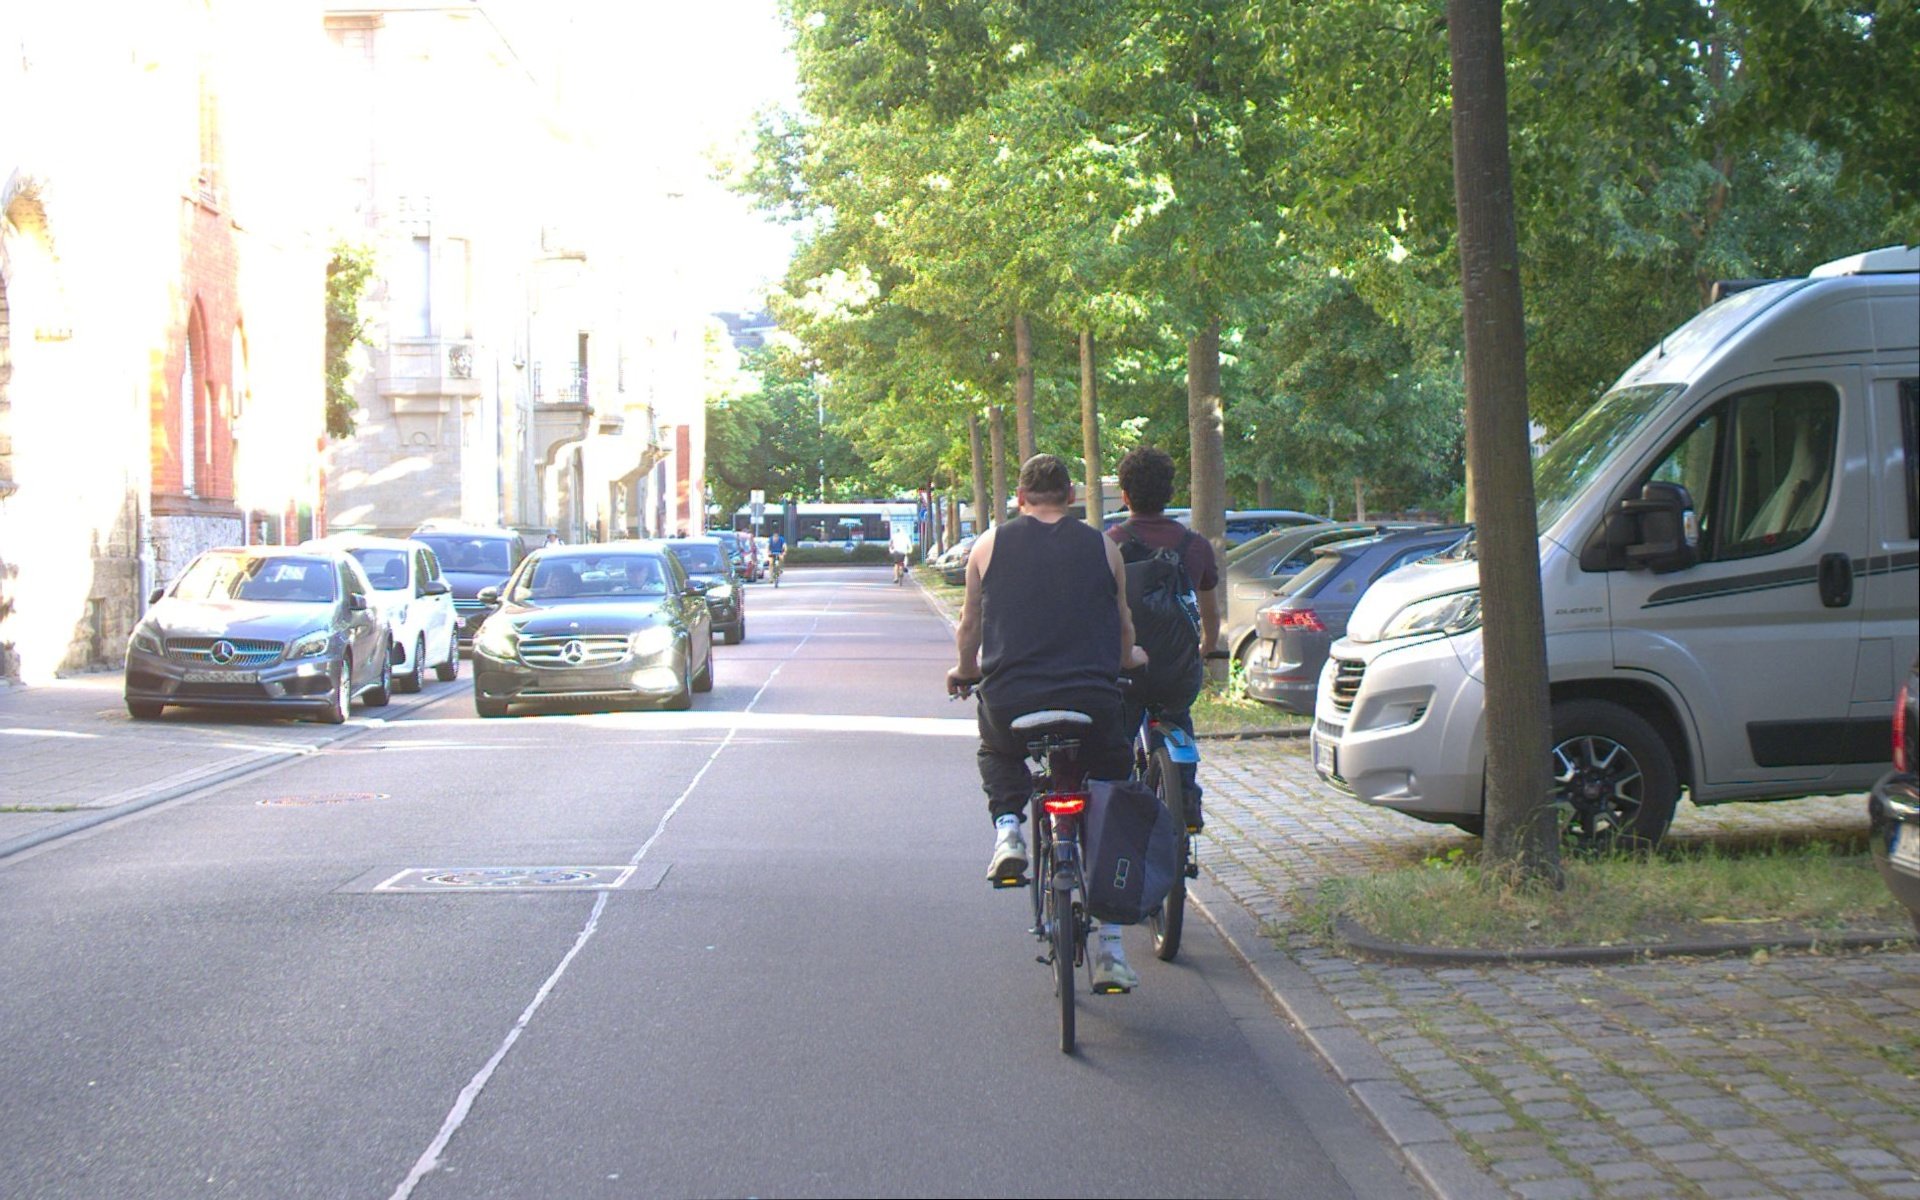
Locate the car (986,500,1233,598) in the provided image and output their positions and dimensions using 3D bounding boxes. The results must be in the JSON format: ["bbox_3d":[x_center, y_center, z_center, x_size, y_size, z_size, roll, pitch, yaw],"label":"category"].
[{"bbox_3d":[2.931,-1.001,68.172,4.757,1.774,1.855,-2,0,0],"label":"car"}]

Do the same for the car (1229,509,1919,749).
[{"bbox_3d":[4.110,0.174,22.717,4.502,1.448,1.816,-1,0,0],"label":"car"}]

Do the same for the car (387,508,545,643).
[{"bbox_3d":[-6.327,-0.310,44.365,1.630,1.660,3.969,0,0,-2],"label":"car"}]

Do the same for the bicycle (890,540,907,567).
[{"bbox_3d":[-1.913,-1.453,107.135,0.541,0.825,1.919,0,0,-1],"label":"bicycle"}]

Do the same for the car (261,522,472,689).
[{"bbox_3d":[-5.960,0.035,34.866,1.491,1.512,3.775,3,1,-1],"label":"car"}]

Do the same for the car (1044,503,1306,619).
[{"bbox_3d":[3.592,-0.657,57.974,4.243,1.791,1.855,-2,0,0],"label":"car"}]

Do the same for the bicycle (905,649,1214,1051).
[{"bbox_3d":[0.260,0.702,10.466,0.696,1.069,1.969,0,0,-5],"label":"bicycle"}]

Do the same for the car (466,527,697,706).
[{"bbox_3d":[-3.326,0.136,30.874,1.896,1.481,4.382,0,0,-4],"label":"car"}]

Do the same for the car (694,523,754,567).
[{"bbox_3d":[-8.534,-1.992,124.652,1.993,1.525,4.000,0,0,-1],"label":"car"}]

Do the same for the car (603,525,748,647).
[{"bbox_3d":[-4.063,-0.218,49.641,1.767,1.594,4.090,-3,1,-1],"label":"car"}]

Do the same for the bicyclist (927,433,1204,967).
[{"bbox_3d":[0.299,0.284,10.323,0.706,1.521,0.972,0,0,-5],"label":"bicyclist"}]

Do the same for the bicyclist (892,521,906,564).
[{"bbox_3d":[-1.904,-1.792,107.154,0.417,1.346,0.430,0,0,-1],"label":"bicyclist"}]

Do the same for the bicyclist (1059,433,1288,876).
[{"bbox_3d":[0.749,0.185,12.323,0.718,1.521,0.972,0,0,-2],"label":"bicyclist"}]

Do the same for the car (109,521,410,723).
[{"bbox_3d":[-5.922,0.156,29.514,1.755,1.512,4.115,3,1,-1],"label":"car"}]

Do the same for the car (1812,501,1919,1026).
[{"bbox_3d":[4.414,0.409,9.724,3.500,1.467,1.752,-2,0,-2],"label":"car"}]

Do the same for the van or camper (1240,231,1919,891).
[{"bbox_3d":[4.194,-0.238,14.953,5.573,2.528,2.269,-3,0,-3],"label":"van or camper"}]

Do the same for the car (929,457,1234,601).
[{"bbox_3d":[2.953,-1.731,84.877,7.332,3.271,2.223,-2,0,0],"label":"car"}]

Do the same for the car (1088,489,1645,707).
[{"bbox_3d":[3.284,-0.023,28.262,4.242,1.600,1.754,-2,0,-4],"label":"car"}]

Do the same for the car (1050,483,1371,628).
[{"bbox_3d":[3.424,-0.608,47.554,4.243,1.833,1.855,-2,0,0],"label":"car"}]

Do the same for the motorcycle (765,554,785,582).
[{"bbox_3d":[-5.617,-0.972,104.378,0.551,0.798,1.308,-1,1,-4],"label":"motorcycle"}]

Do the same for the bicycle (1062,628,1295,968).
[{"bbox_3d":[0.753,0.663,12.361,0.555,1.069,1.969,0,1,-5],"label":"bicycle"}]

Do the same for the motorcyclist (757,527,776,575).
[{"bbox_3d":[-5.855,-1.494,104.087,0.551,1.443,0.688,-1,1,-4],"label":"motorcyclist"}]

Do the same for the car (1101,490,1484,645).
[{"bbox_3d":[3.830,-0.377,40.150,4.243,1.642,1.855,-2,0,0],"label":"car"}]

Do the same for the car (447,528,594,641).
[{"bbox_3d":[-6.325,-0.235,49.792,1.615,1.477,4.019,3,1,-1],"label":"car"}]
